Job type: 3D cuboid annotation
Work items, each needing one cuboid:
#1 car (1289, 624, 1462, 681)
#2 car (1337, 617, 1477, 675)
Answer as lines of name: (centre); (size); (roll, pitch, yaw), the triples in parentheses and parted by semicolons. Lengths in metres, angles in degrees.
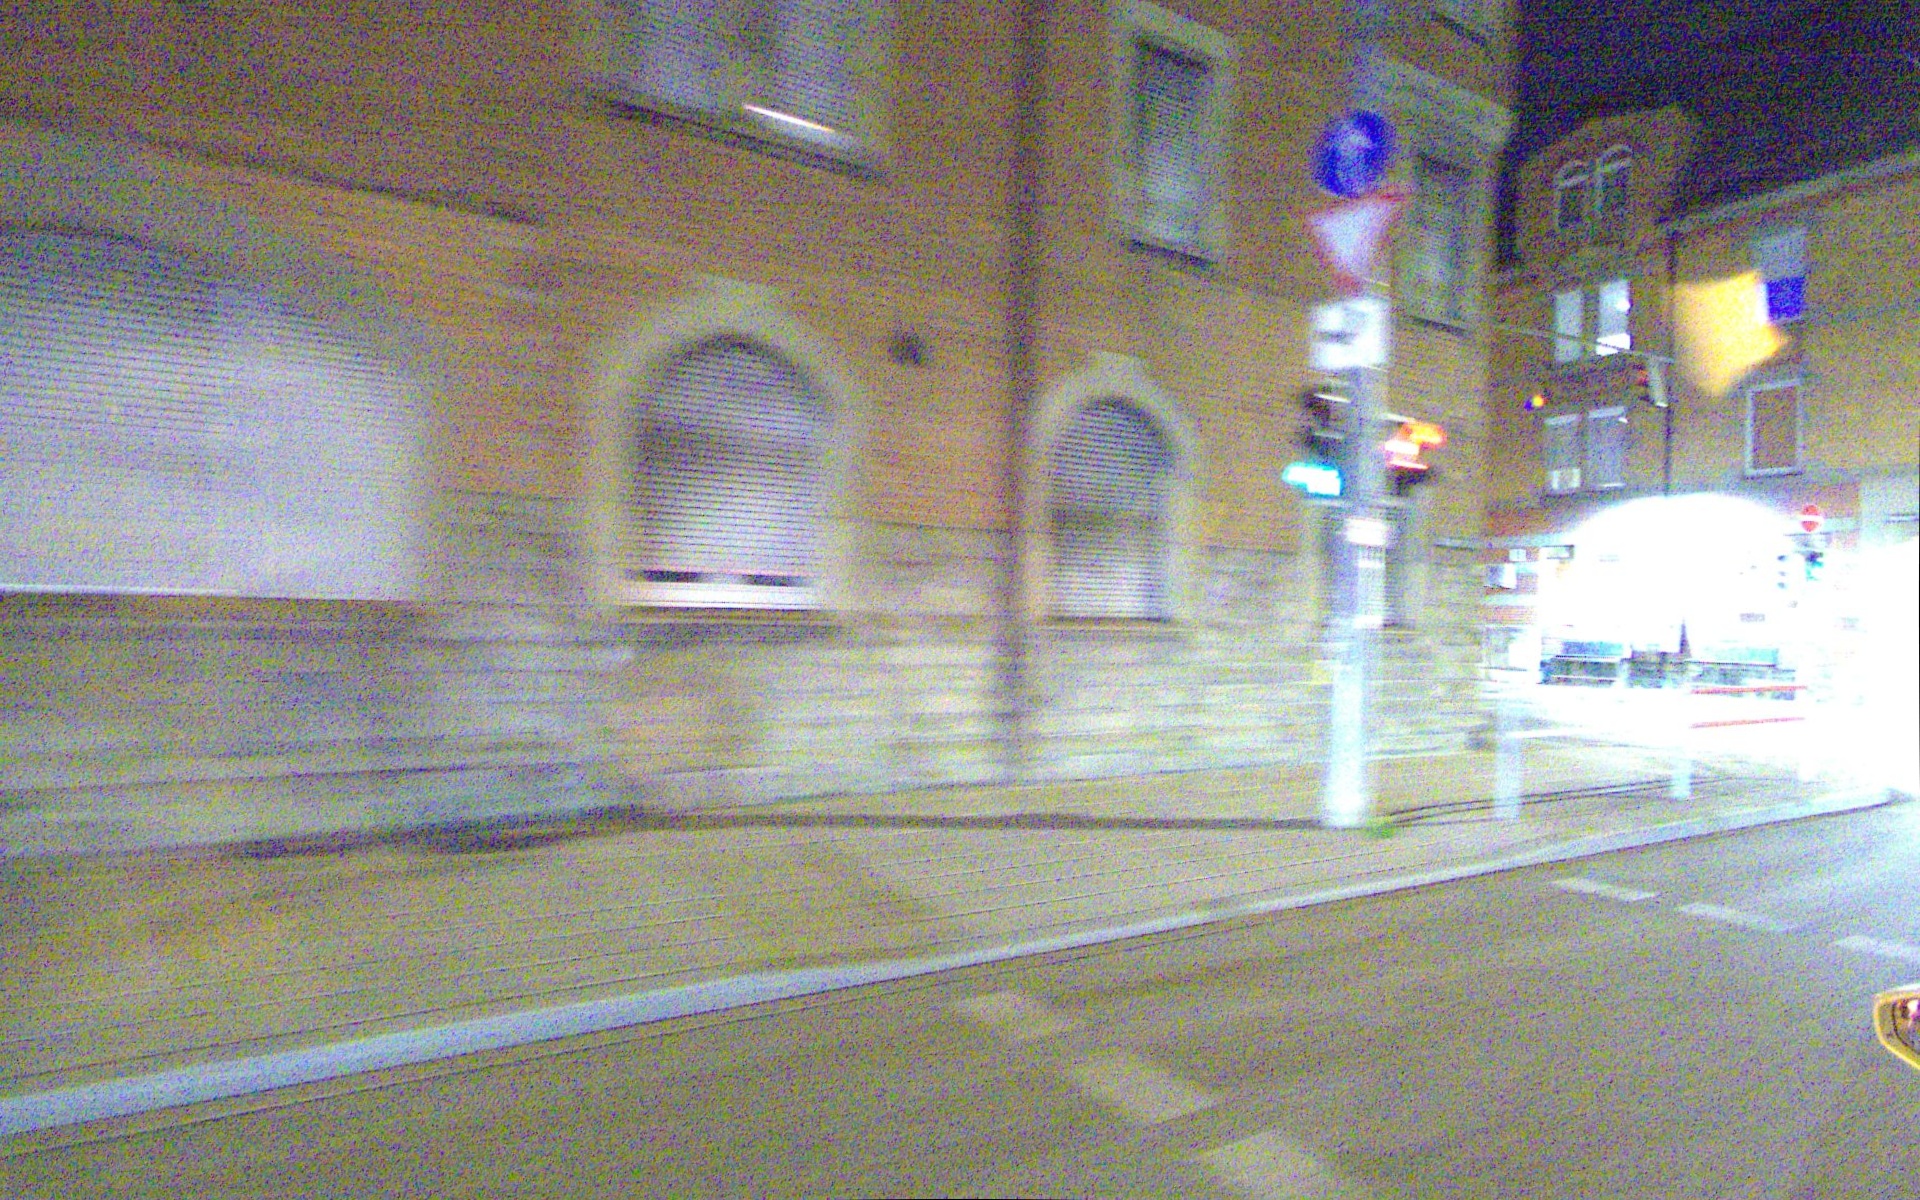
car: (11.382, 1.394, 27.802); (1.780, 1.421, 4.256); (2, -1, -29)
car: (13.665, 1.382, 30.860); (1.686, 1.615, 3.581); (3, -2, -35)
